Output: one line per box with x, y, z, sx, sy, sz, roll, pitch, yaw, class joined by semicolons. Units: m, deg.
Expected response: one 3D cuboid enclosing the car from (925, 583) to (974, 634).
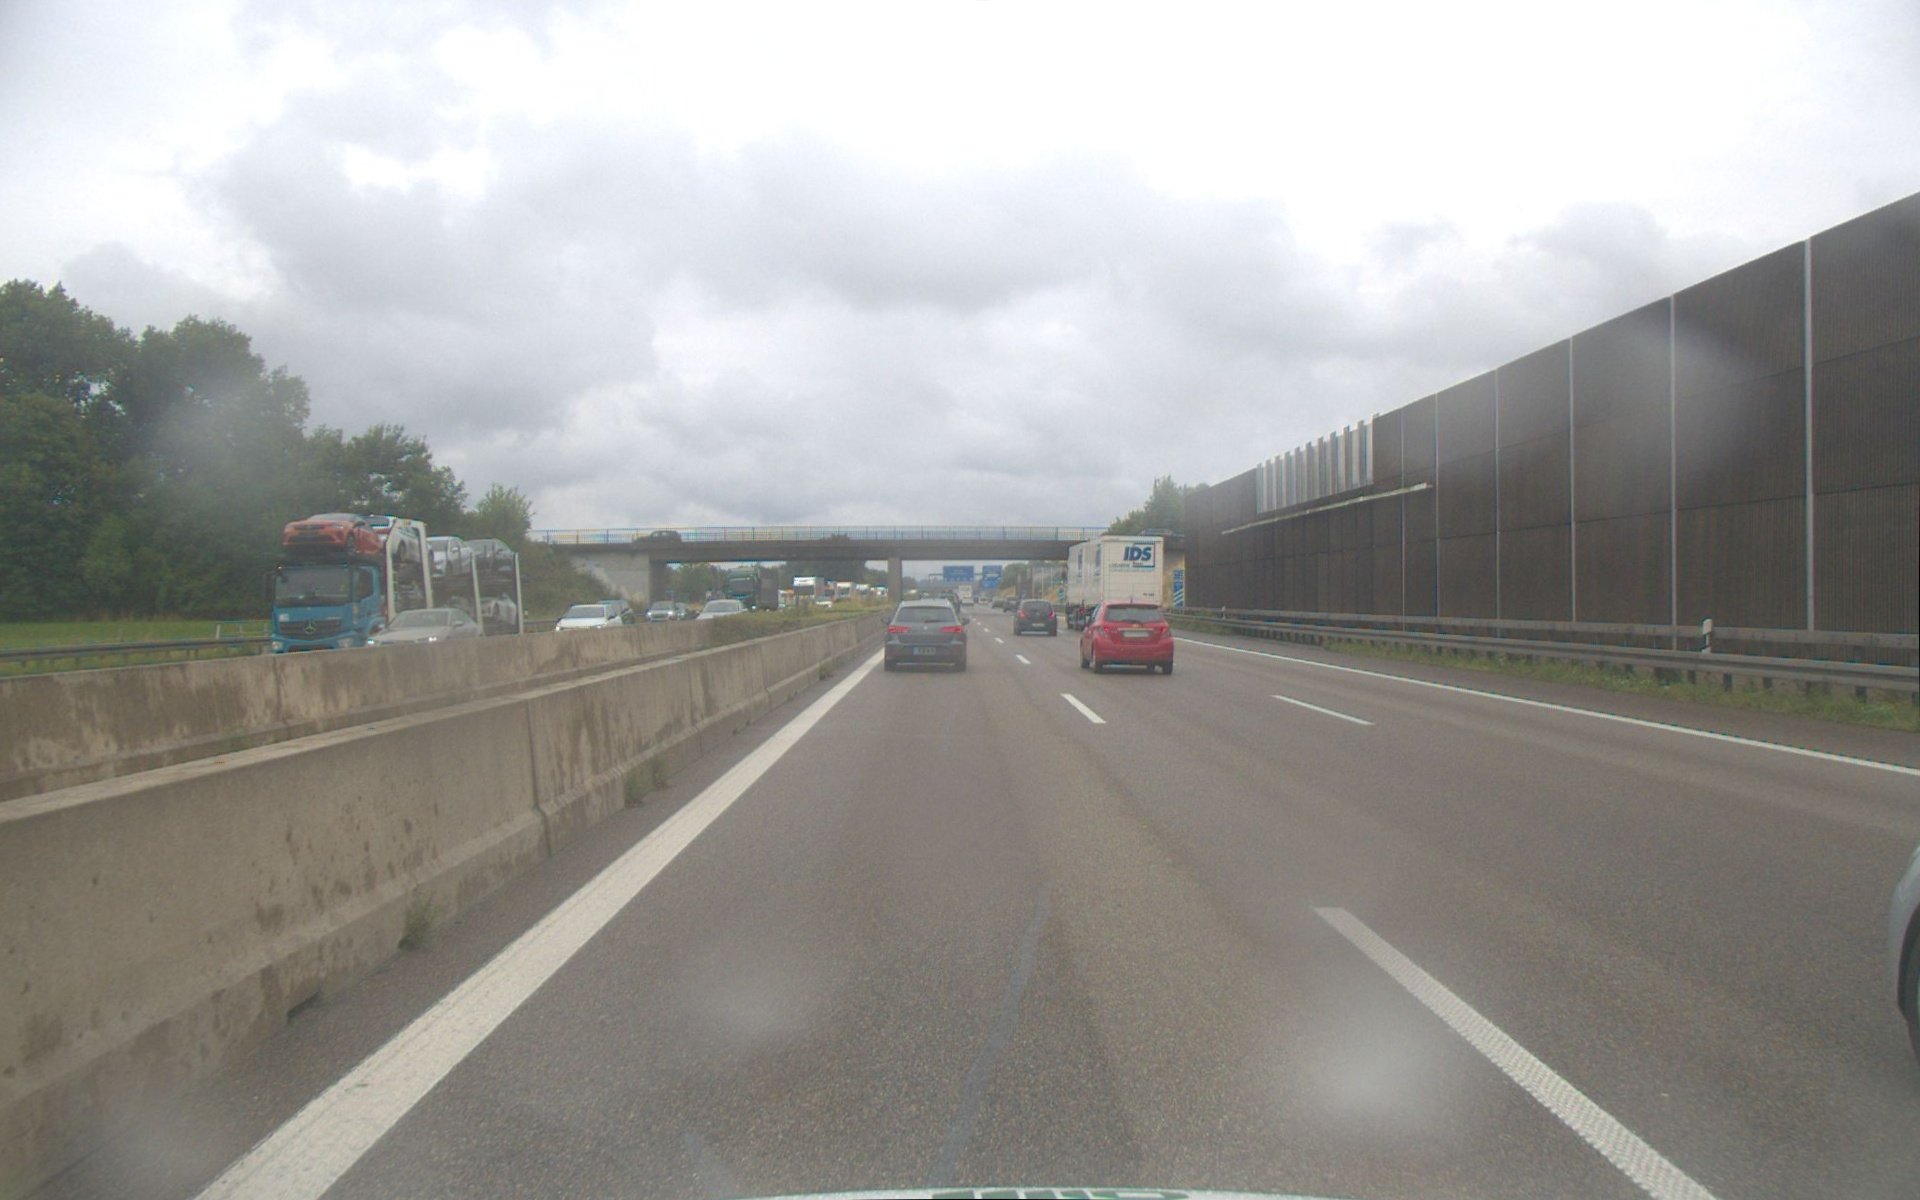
-0.417;0.315;63.708;1.788;1.882;3.999;-1;0;-1;car

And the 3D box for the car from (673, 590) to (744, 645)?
-9.213;0.649;60.963;1.888;1.912;4.589;1;0;0;car

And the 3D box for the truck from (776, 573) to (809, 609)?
-19.351;-1.004;191.134;3.206;4.116;5.292;1;0;0;truck

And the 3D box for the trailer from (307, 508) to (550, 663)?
-16.988;-0.372;54.689;2.937;4.316;15.705;1;0;0;trailer

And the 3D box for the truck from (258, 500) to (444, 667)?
-16.936;-0.419;46.485;2.897;4.316;6.233;1;0;-1;truck

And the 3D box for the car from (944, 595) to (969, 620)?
-0.263;0.537;123.176;1.670;1.828;3.853;-1;0;-2;car

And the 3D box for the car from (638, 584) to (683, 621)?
-17.670;0.129;97.756;1.953;2.049;4.000;-1;0;0;car

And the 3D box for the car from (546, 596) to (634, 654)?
-12.977;0.851;58.256;1.953;1.912;5.031;1;0;0;car

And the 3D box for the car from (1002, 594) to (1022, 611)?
5.283;0.250;169.982;1.808;1.716;3.999;1;0;-1;car

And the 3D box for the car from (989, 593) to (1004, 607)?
4.930;0.004;223.546;1.953;1.843;4.227;-1;0;0;car

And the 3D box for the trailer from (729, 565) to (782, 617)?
-17.211;-0.680;140.064;2.701;4.121;14.517;1;0;0;trailer

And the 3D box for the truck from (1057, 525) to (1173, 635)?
6.793;-0.759;76.230;3.217;4.370;19.028;1;0;-1;truck

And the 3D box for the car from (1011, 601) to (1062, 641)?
3.149;0.839;68.739;1.882;1.548;4.621;0;0;-1;car

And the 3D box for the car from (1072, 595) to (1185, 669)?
3.561;0.632;35.730;1.853;1.472;4.683;0;0;-2;car

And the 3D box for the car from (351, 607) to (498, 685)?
-13.101;1.069;40.798;2.051;1.740;5.164;0;0;-2;car

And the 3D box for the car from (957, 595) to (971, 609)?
0.602;0.362;251.336;1.953;2.049;4.241;1;0;-1;car

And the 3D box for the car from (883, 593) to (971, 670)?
-0.690;0.643;35.049;1.732;1.493;3.999;1;0;-1;car

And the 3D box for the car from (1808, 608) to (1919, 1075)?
3.862;0.754;3.566;1.706;1.450;4.516;0;0;-1;car

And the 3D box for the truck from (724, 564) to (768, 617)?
-17.176;-0.721;133.242;2.701;4.121;6.254;1;0;0;truck
